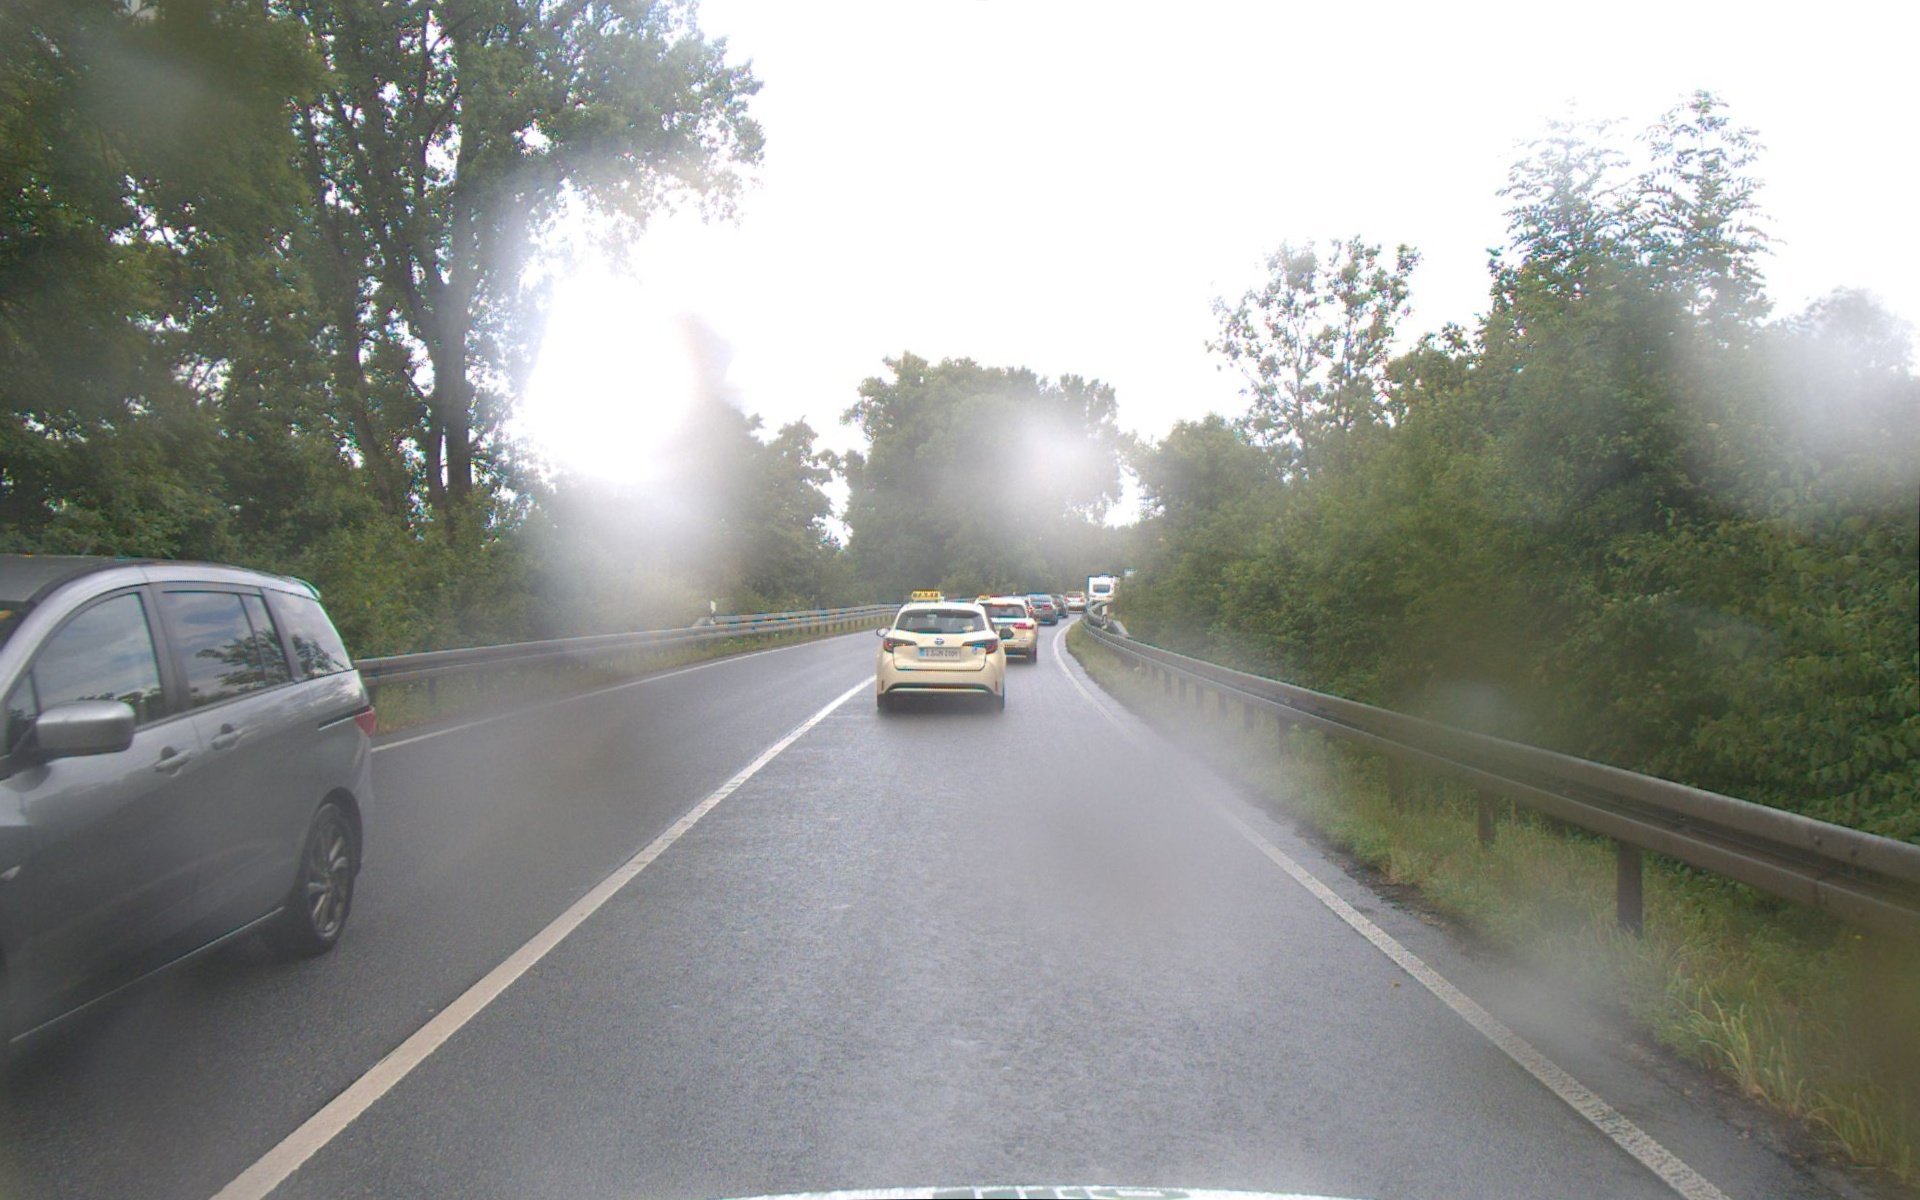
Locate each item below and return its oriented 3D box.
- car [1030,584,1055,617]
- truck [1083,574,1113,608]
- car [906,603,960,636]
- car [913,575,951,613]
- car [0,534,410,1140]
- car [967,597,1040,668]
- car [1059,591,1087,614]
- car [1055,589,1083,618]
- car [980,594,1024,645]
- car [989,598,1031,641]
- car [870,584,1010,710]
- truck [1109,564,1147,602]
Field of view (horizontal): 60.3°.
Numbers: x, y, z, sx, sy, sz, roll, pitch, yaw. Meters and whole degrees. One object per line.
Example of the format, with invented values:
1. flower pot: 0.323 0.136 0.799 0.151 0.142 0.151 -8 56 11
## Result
1. car: 4.101 0.036 82.005 1.142 1.574 2.605 0 -1 5
2. truck: 12.126 -0.765 145.637 2.496 2.760 7.538 1 -1 3
3. car: -1.106 0.834 70.249 1.774 1.378 4.003 0 -1 7
4. car: -1.539 -0.319 92.363 1.952 2.049 4.000 1 -1 1
5. car: -3.365 0.612 5.439 1.658 1.601 4.374 1 0 0
6. car: 1.019 0.774 39.656 1.633 1.608 3.892 1 -1 1
7. car: 7.975 0.183 116.693 1.732 1.574 3.817 0 -1 8
8. car: 6.389 0.224 97.034 1.582 1.641 3.623 1 -1 4
9. car: 1.305 0.624 52.301 1.274 1.574 3.259 1 -1 -1
10. car: 1.953 0.787 63.546 1.577 1.574 3.814 0 -2 2
11. car: -0.226 0.640 23.420 1.796 1.608 4.157 1 -1 1
12. truck: 17.532 -1.775 171.977 3.041 3.745 7.005 0 -1 13
